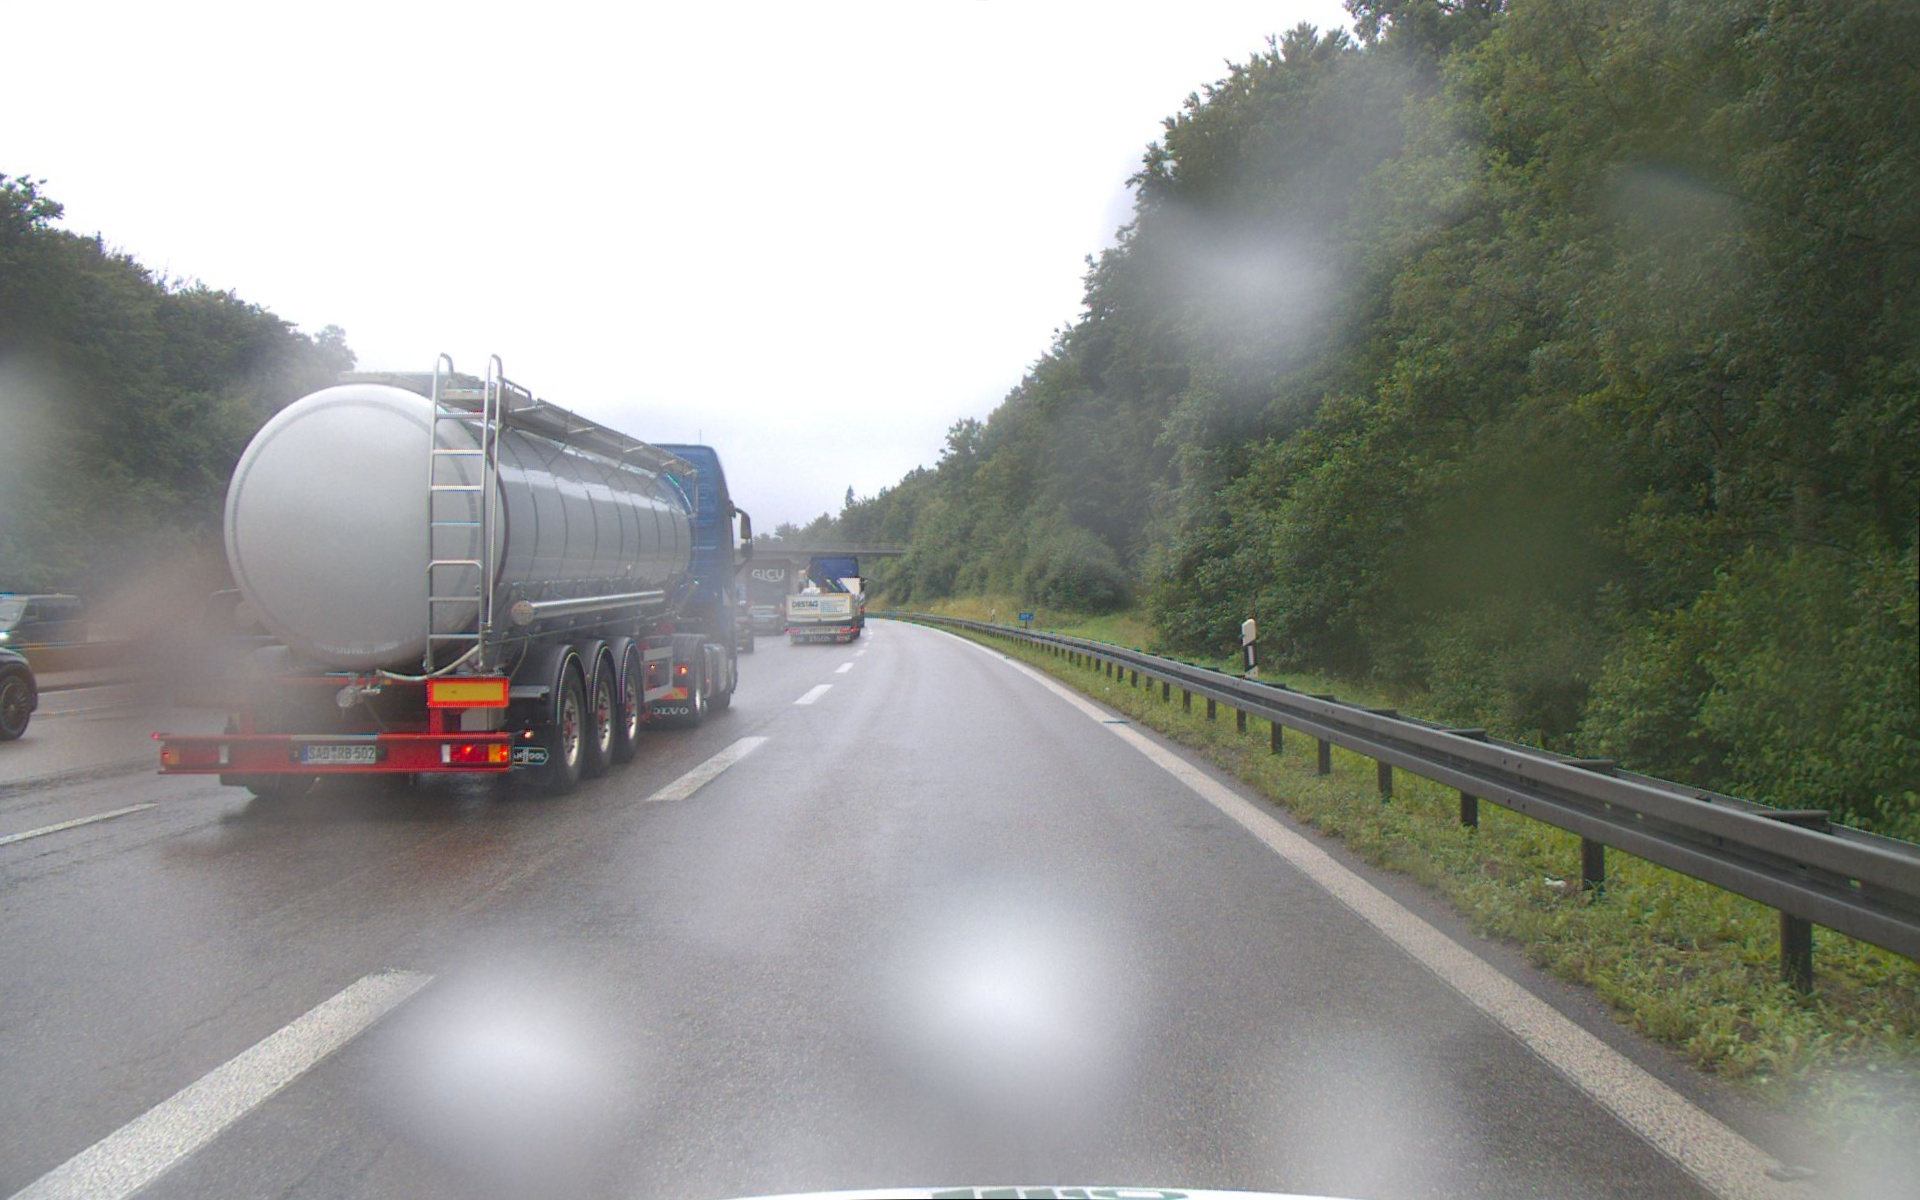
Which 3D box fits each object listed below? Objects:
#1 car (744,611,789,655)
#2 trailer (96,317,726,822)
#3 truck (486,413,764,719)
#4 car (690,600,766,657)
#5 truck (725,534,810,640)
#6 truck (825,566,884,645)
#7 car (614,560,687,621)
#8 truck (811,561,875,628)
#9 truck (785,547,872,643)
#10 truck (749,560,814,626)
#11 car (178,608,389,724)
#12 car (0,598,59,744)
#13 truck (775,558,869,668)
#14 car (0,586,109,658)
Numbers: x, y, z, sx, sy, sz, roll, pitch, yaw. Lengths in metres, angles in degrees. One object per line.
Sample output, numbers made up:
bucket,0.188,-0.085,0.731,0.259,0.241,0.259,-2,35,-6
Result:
car,-9.633,1.684,82.616,1.757,2.049,3.998,3,-2,-1
trailer,-4.355,-0.199,16.021,2.815,3.346,10.076,0,0,0
truck,-4.414,-0.414,22.845,2.818,3.758,5.056,0,0,0
car,-7.540,0.960,54.114,1.953,1.665,3.998,3,-2,-2
truck,-11.152,-0.604,97.085,3.679,5.595,10.169,3,-2,-1
truck,-8.484,0.583,133.563,4.250,5.864,9.722,3,-2,-3
car,-10.722,-0.293,57.522,1.761,1.870,3.998,3,-2,-1
truck,-7.964,-0.249,114.206,3.679,4.040,11.054,3,-2,-1
truck,-6.615,-0.128,85.113,3.436,4.343,10.600,3,-2,0
truck,-12.213,-0.379,114.118,3.504,4.167,10.875,0,-2,-1
car,-11.383,1.049,28.166,1.953,1.830,4.153,0,0,-1
car,-11.604,0.789,17.161,1.953,1.622,4.807,0,0,-1
truck,-5.612,0.510,69.335,3.528,4.177,11.553,0,0,-3
car,-26.435,0.613,46.704,2.010,1.911,5.246,3,-2,-1
